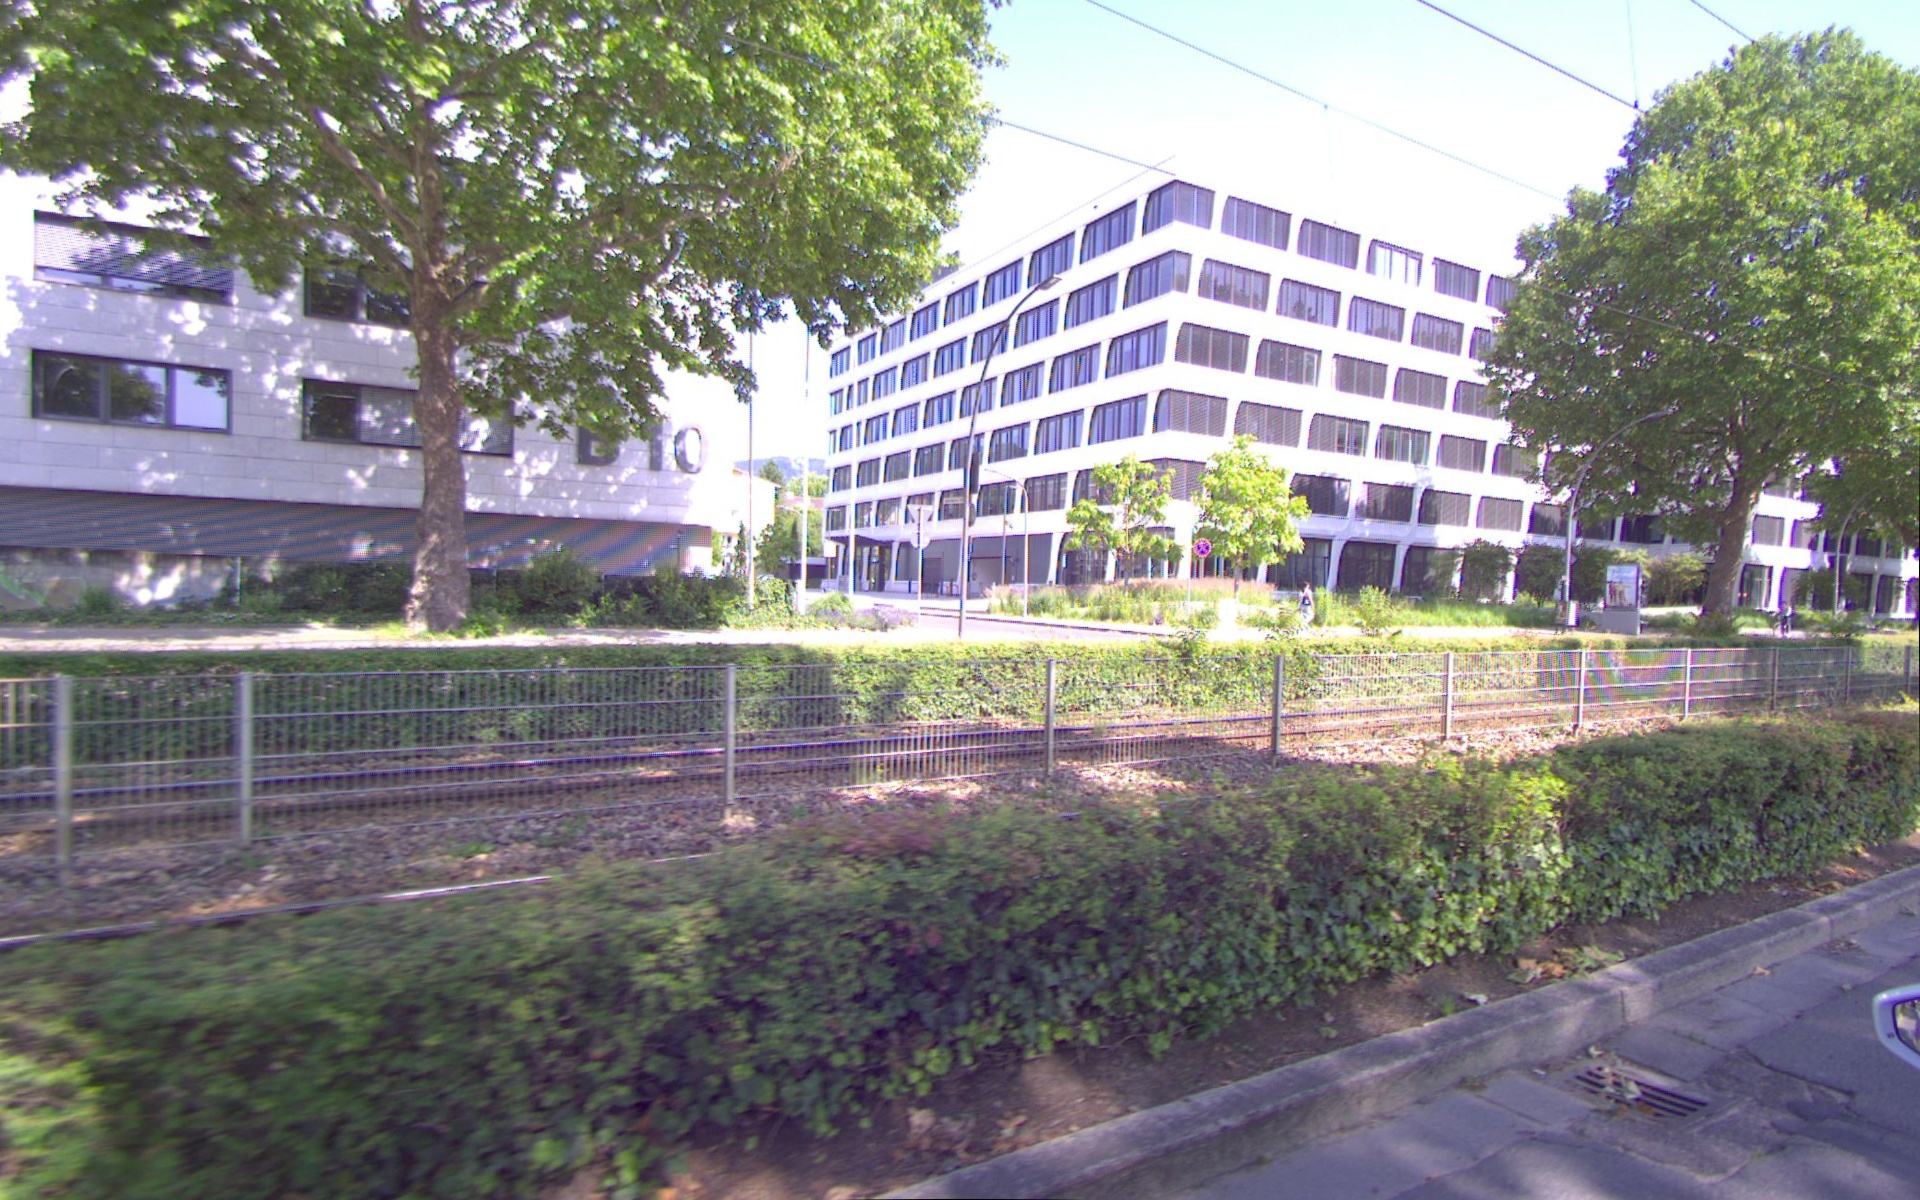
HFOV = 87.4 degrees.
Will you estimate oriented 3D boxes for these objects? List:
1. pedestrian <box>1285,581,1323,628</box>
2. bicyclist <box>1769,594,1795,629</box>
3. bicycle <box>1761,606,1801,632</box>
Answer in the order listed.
[{"bbox_3d":[11.870,0.157,34.686,1.002,1.610,0.717,1,2,-29],"label":"pedestrian"},{"bbox_3d":[37.047,0.510,45.276,0.633,1.555,0.651,0,2,-29],"label":"bicyclist"},{"bbox_3d":[36.990,0.853,45.261,2.006,1.139,0.661,1,2,-29],"label":"bicycle"}]
